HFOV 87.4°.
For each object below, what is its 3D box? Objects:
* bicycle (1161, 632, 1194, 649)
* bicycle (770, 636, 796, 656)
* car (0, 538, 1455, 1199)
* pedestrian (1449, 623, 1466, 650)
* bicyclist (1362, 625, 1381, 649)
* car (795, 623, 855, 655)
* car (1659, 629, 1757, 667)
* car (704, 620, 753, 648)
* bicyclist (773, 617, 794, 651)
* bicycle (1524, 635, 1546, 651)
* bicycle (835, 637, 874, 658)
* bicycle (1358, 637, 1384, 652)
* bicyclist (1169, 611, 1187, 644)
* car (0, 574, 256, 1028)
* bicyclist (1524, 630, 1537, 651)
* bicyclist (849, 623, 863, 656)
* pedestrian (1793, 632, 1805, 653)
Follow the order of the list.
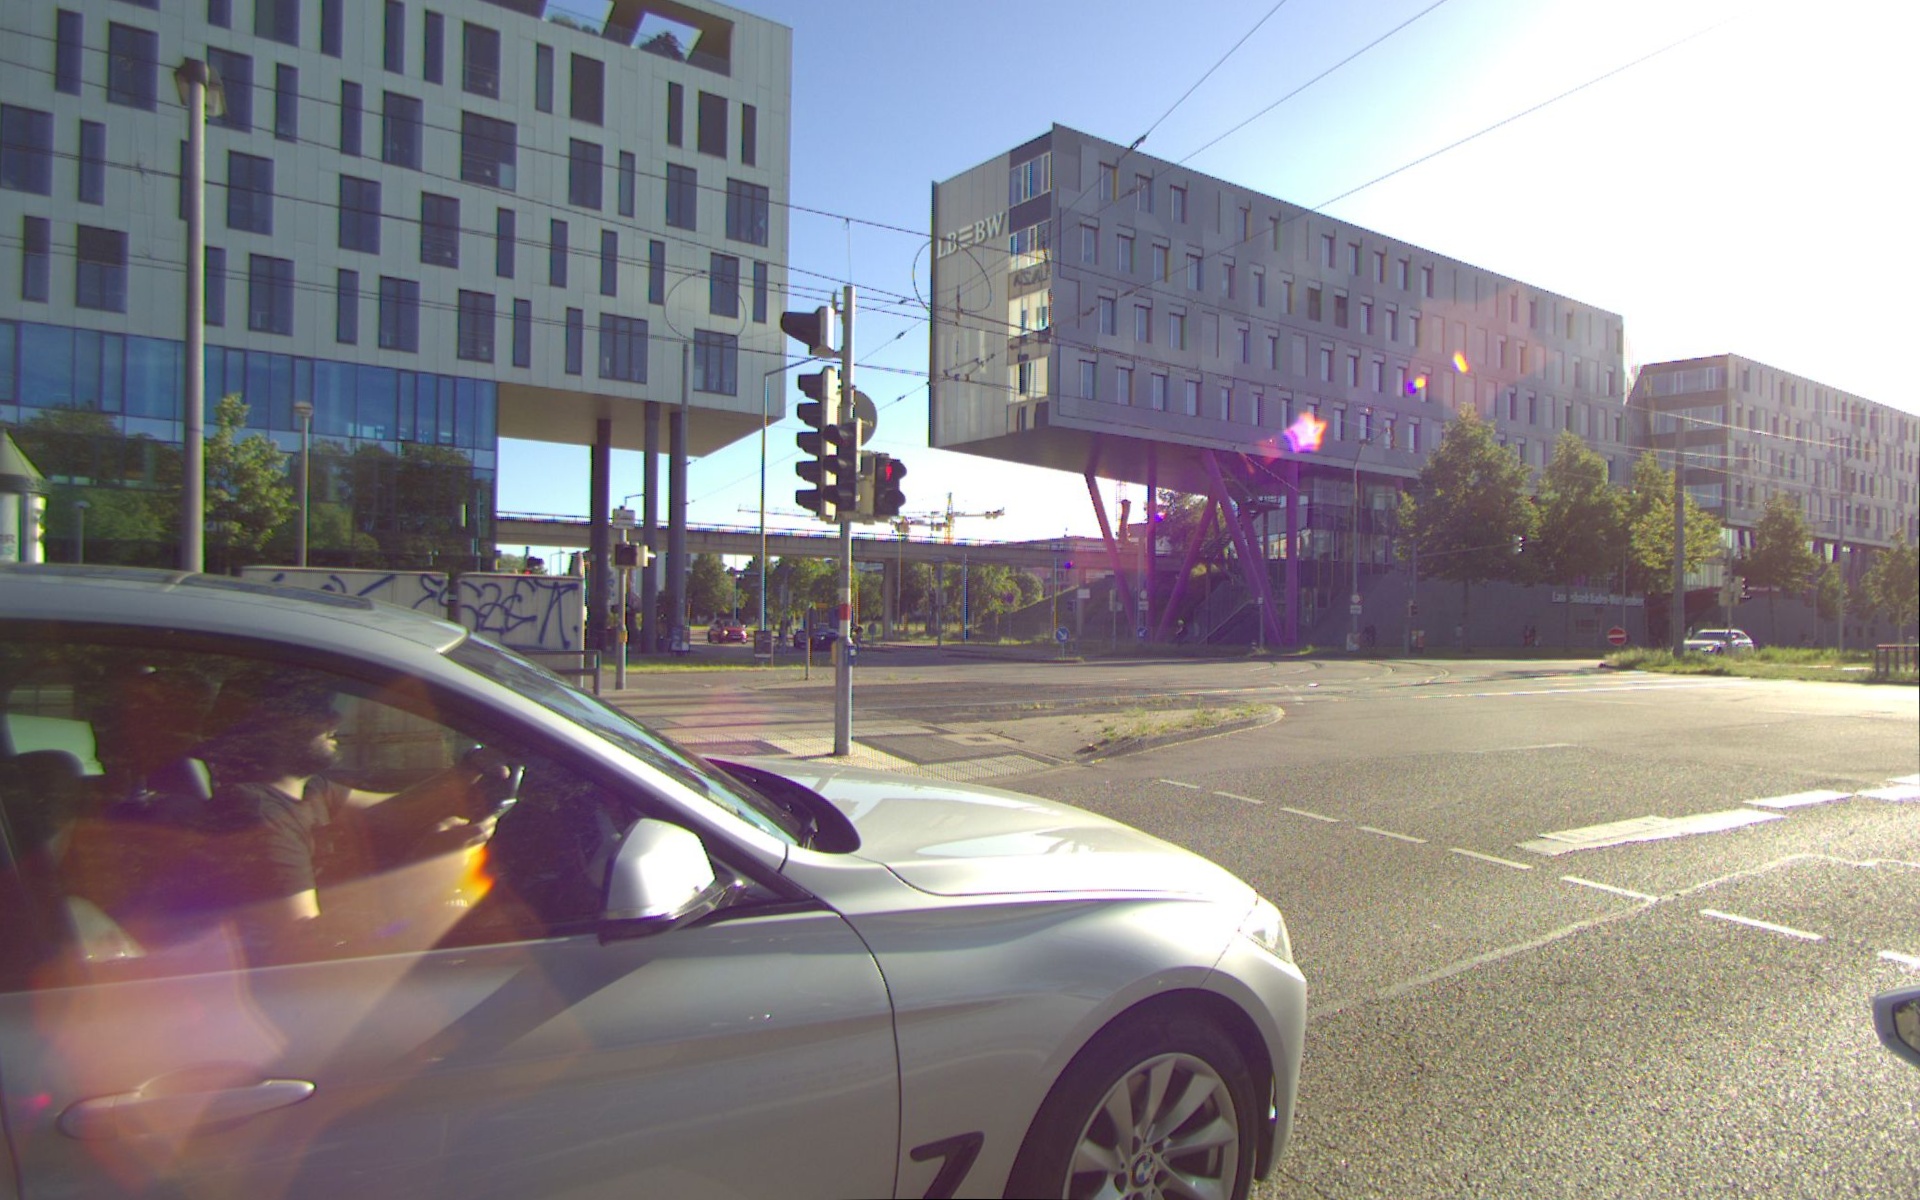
[{"bbox_3d":[11.675,2.166,53.888,1.812,0.874,0.525,1,-1,-30],"label":"bicycle"},{"bbox_3d":[-8.639,2.238,49.041,0.739,0.874,1.817,1,-1,-28],"label":"bicycle"},{"bbox_3d":[-1.265,0.697,1.968,4.859,1.547,1.788,2,0,-34],"label":"car"},{"bbox_3d":[34.671,2.519,70.001,0.861,1.846,0.717,1,-1,-30],"label":"pedestrian"},{"bbox_3d":[25.082,2.233,61.210,0.947,1.454,0.567,1,-1,-30],"label":"bicyclist"},{"bbox_3d":[-7.201,2.062,53.429,1.974,1.586,3.972,1,-1,-27],"label":"car"},{"bbox_3d":[33.838,2.138,45.424,4.818,1.583,1.983,1,-1,-32],"label":"car"},{"bbox_3d":[-13.982,2.022,60.644,1.974,1.586,3.972,1,-1,-27],"label":"car"},{"bbox_3d":[-8.605,1.656,48.988,0.741,1.604,0.949,1,-1,-28],"label":"bicyclist"},{"bbox_3d":[43.348,3.226,75.694,1.953,1.188,0.517,2,-1,-31],"label":"bicycle"},{"bbox_3d":[-4.634,2.087,44.066,1.665,0.874,0.481,1,-1,-17],"label":"bicycle"},{"bbox_3d":[25.041,2.716,61.177,1.672,0.874,0.573,1,-1,-30],"label":"bicycle"},{"bbox_3d":[11.693,1.484,53.906,0.827,1.749,0.527,1,-1,-30],"label":"bicyclist"},{"bbox_3d":[-4.694,0.600,3.149,3.963,1.445,1.661,2,0,-33],"label":"car"},{"bbox_3d":[43.187,3.065,75.988,0.754,1.515,0.556,1,-1,-31],"label":"bicyclist"},{"bbox_3d":[-4.557,1.719,44.089,0.544,1.442,0.481,1,-1,-16],"label":"bicyclist"},{"bbox_3d":[85.579,4.341,102.442,0.681,2.040,0.732,2,-1,-30],"label":"pedestrian"}]
